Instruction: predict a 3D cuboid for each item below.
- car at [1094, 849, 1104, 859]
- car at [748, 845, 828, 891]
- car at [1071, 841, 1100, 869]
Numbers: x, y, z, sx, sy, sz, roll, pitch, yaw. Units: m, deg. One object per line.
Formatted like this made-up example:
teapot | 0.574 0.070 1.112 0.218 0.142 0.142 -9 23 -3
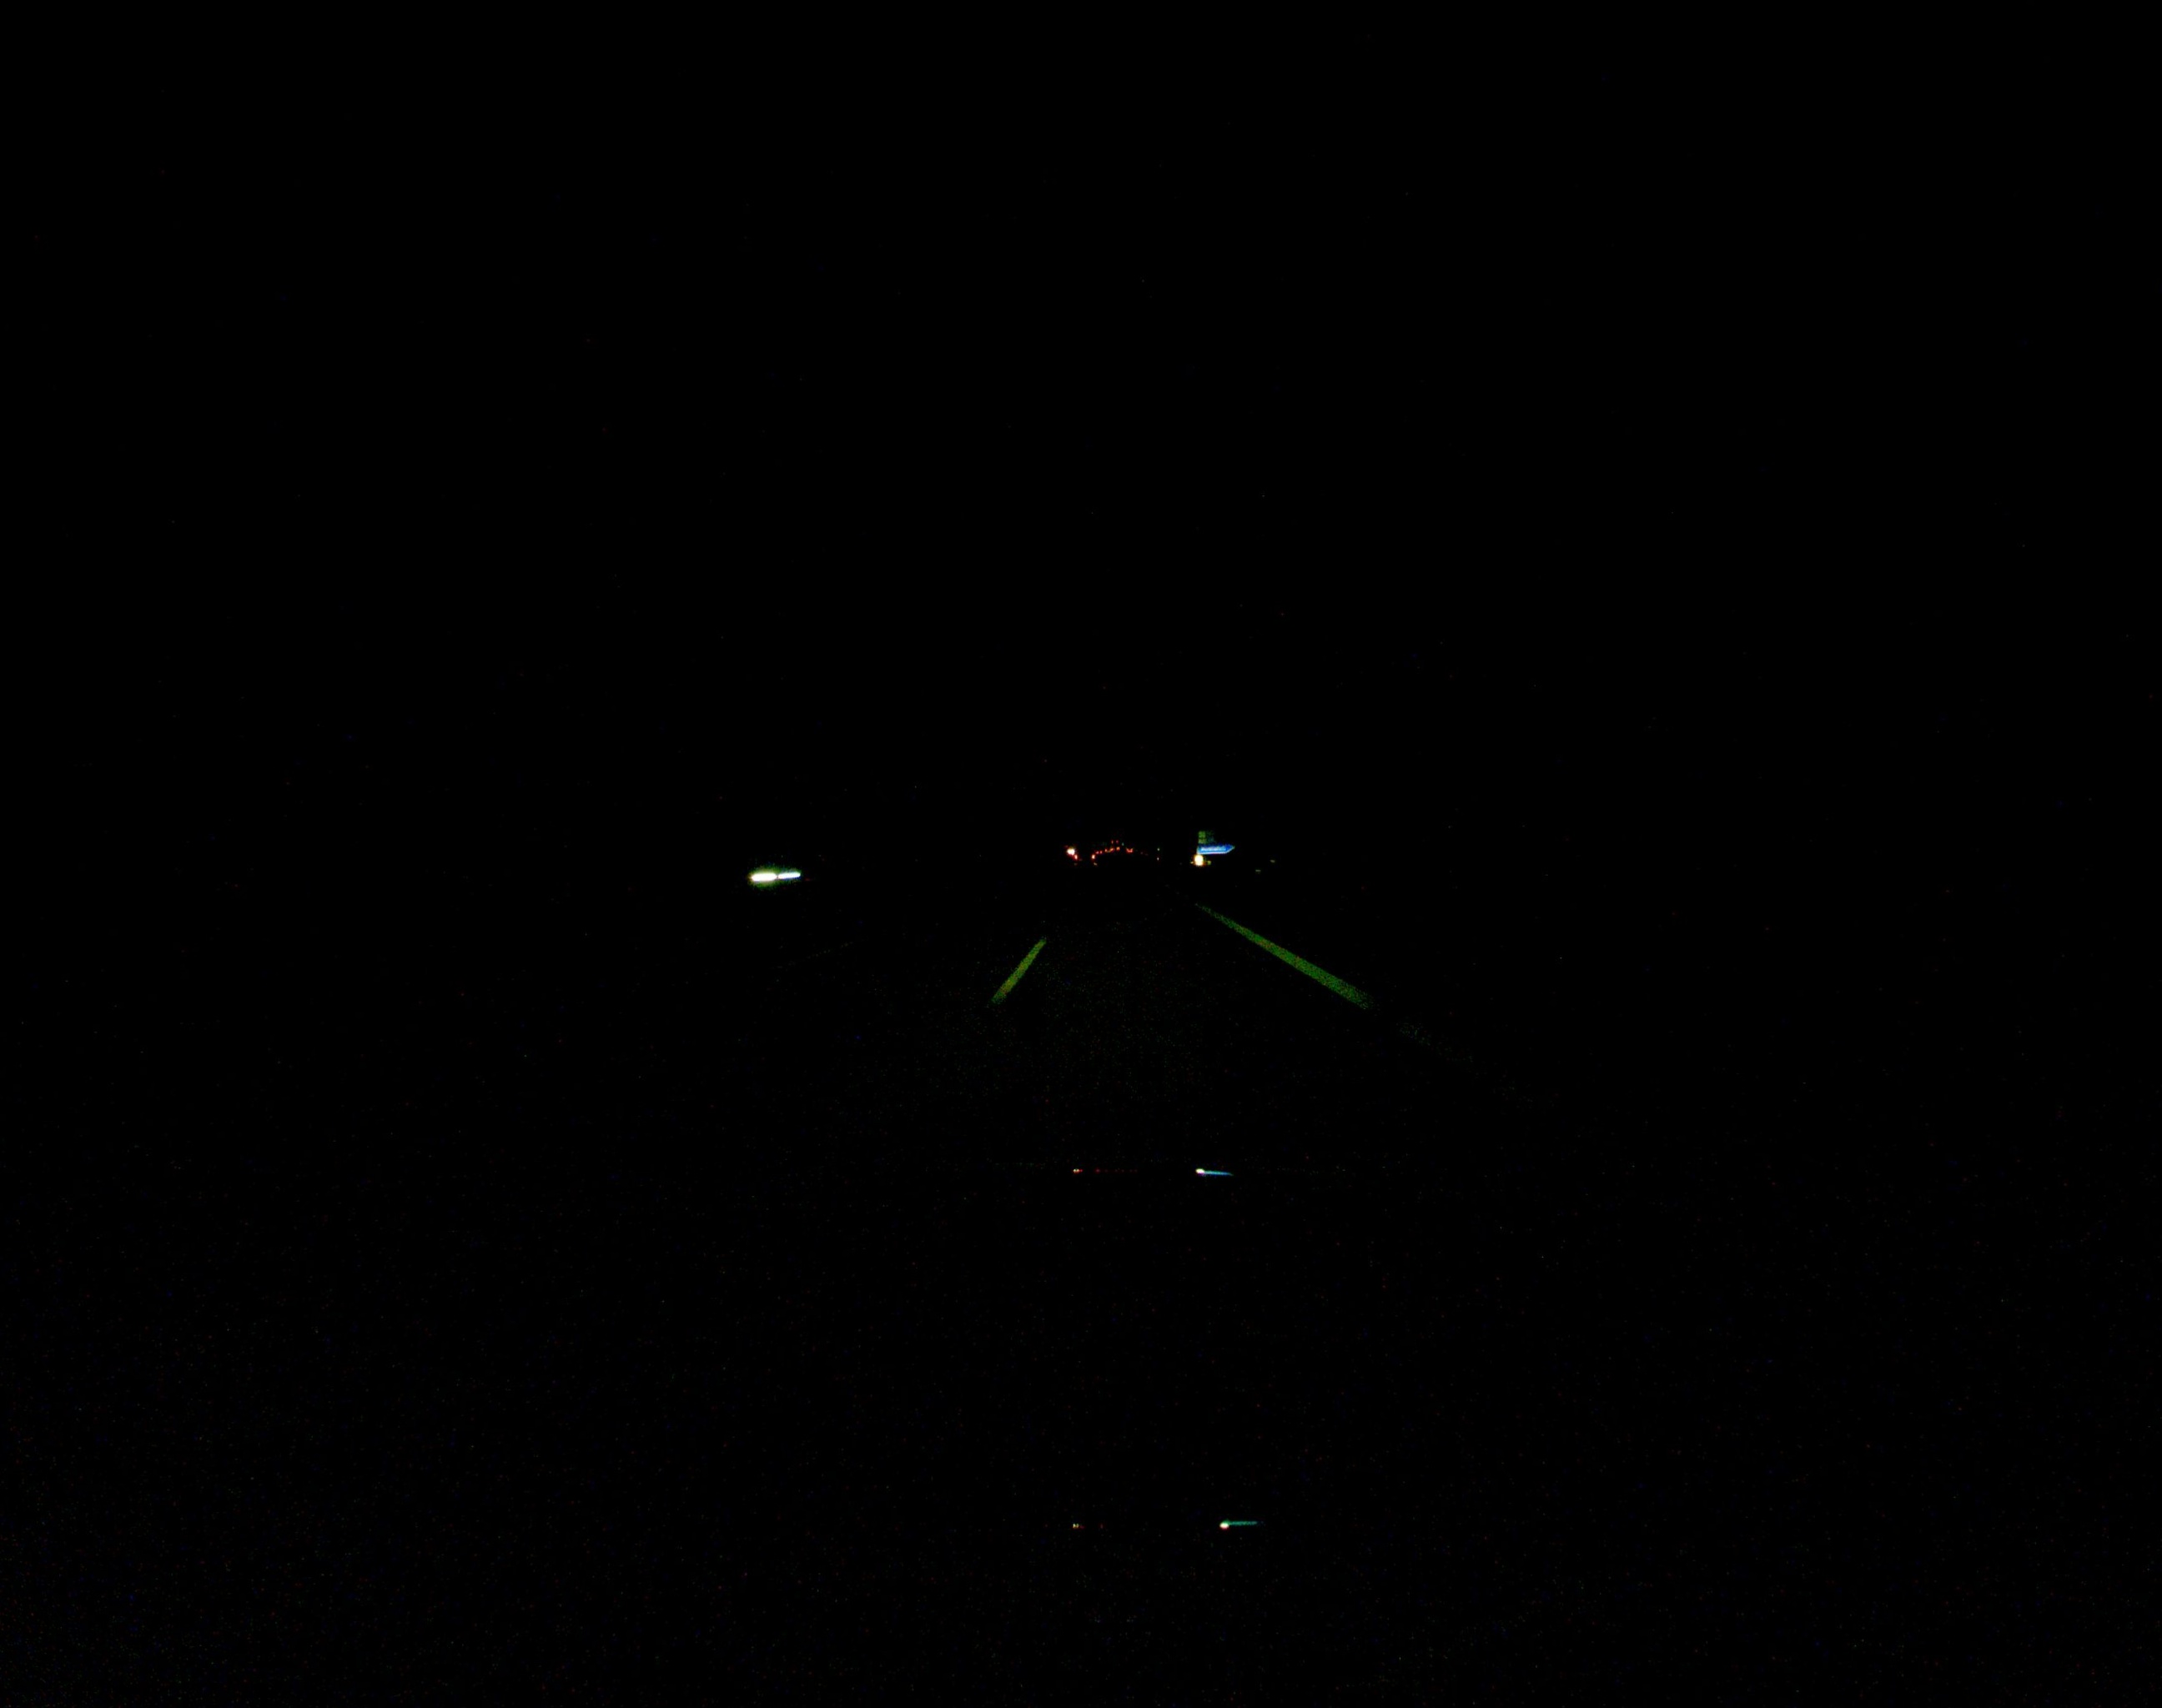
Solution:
car | 5.664 0.044 256.639 2.777 2.734 6.299 -2 -2 1
car | -19.968 0.971 56.025 2.835 2.937 6.605 -1 -1 2
car | 0.506 0.182 85.986 2.776 2.734 6.301 -2 -2 2
